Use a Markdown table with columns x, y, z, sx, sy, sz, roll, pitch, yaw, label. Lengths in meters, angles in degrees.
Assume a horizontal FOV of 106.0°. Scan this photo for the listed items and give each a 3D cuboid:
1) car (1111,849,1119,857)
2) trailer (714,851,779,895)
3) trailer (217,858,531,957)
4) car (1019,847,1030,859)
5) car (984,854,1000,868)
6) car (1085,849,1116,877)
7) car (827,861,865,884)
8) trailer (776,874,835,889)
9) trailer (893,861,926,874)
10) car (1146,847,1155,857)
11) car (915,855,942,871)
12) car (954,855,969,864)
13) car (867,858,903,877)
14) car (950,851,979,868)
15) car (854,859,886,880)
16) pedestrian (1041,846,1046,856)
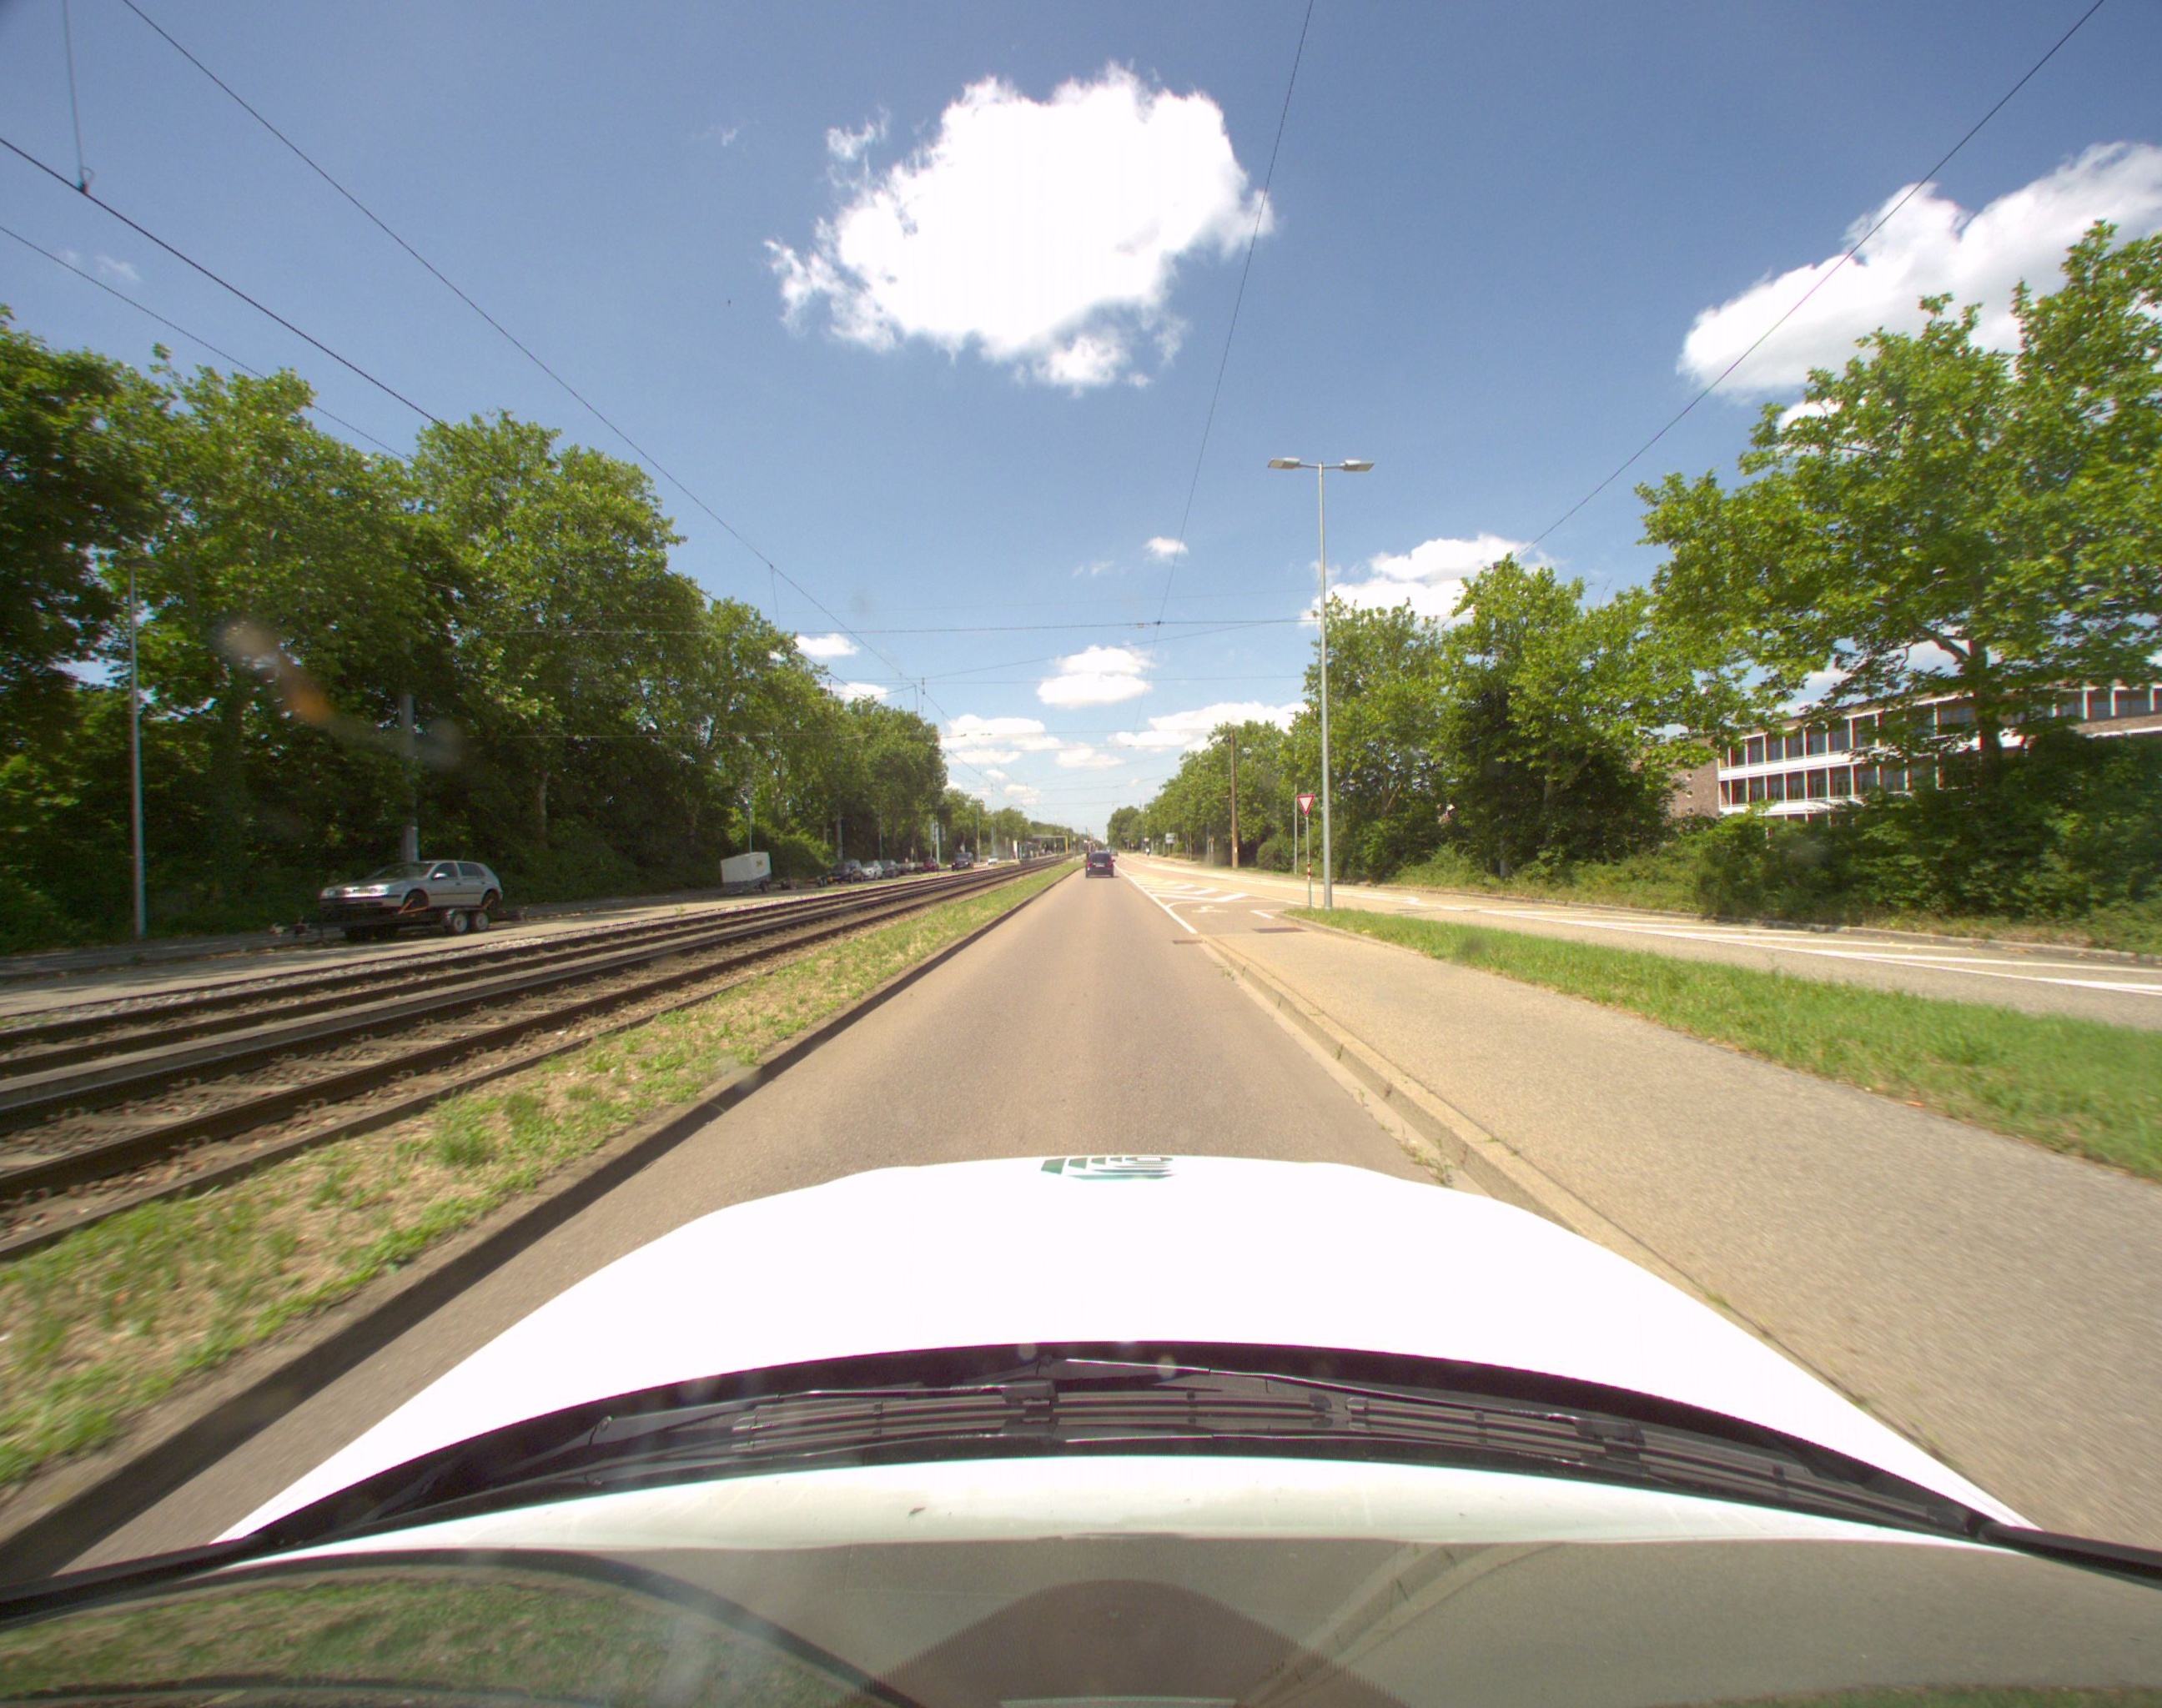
| x | y | z | sx | sy | sz | roll | pitch | yaw | label |
| --- | --- | --- | --- | --- | --- | --- | --- | --- | --- |
| 7.967 | -0.277 | 189.350 | 1.877 | 1.639 | 4.003 | 2 | 1 | 2 | car |
| -16.300 | 0.892 | 39.870 | 1.605 | 2.013 | 3.914 | 0 | 1 | -1 | trailer |
| -16.261 | 1.088 | 19.414 | 2.456 | 1.889 | 5.956 | -1 | 0 | -3 | trailer |
| -9.631 | -0.234 | 139.925 | 1.580 | 2.013 | 4.110 | 0 | 1 | 0 | car |
| -13.916 | 1.055 | 127.259 | 1.986 | 2.013 | 4.001 | -1 | 0 | 1 | car |
| 1.268 | 0.529 | 51.340 | 1.846 | 1.570 | 4.391 | 0 | 2 | 2 | car |
| -15.774 | 1.208 | 54.858 | 1.429 | 1.451 | 3.920 | -1 | 0 | 0 | car |
| -15.937 | 1.553 | 47.264 | 1.986 | 0.742 | 4.001 | -1 | -1 | 1 | trailer |
| -15.908 | 1.204 | 75.740 | 1.886 | 1.044 | 5.103 | 0 | 1 | 0 | trailer |
| 13.935 | -0.413 | 164.292 | 1.607 | 2.013 | 3.440 | 0 | 1 | 1 | car |
| -15.885 | 0.867 | 84.811 | 1.986 | 1.574 | 4.001 | -1 | 0 | 1 | car |
| -21.750 | 0.995 | 148.570 | 1.986 | 1.574 | 4.002 | -1 | 0 | 2 | car |
| -15.907 | 1.088 | 66.247 | 1.864 | 1.401 | 4.417 | -1 | 0 | -1 | car |
| -12.236 | 0.558 | 85.950 | 2.109 | 1.790 | 5.406 | -1 | 0 | 1 | car |
| -15.754 | 1.107 | 60.933 | 1.429 | 1.451 | 3.740 | -1 | 0 | 0 | car |
| -8.333 | -0.642 | 179.540 | 0.949 | 2.013 | 0.892 | 0 | 1 | 1 | pedestrian |
